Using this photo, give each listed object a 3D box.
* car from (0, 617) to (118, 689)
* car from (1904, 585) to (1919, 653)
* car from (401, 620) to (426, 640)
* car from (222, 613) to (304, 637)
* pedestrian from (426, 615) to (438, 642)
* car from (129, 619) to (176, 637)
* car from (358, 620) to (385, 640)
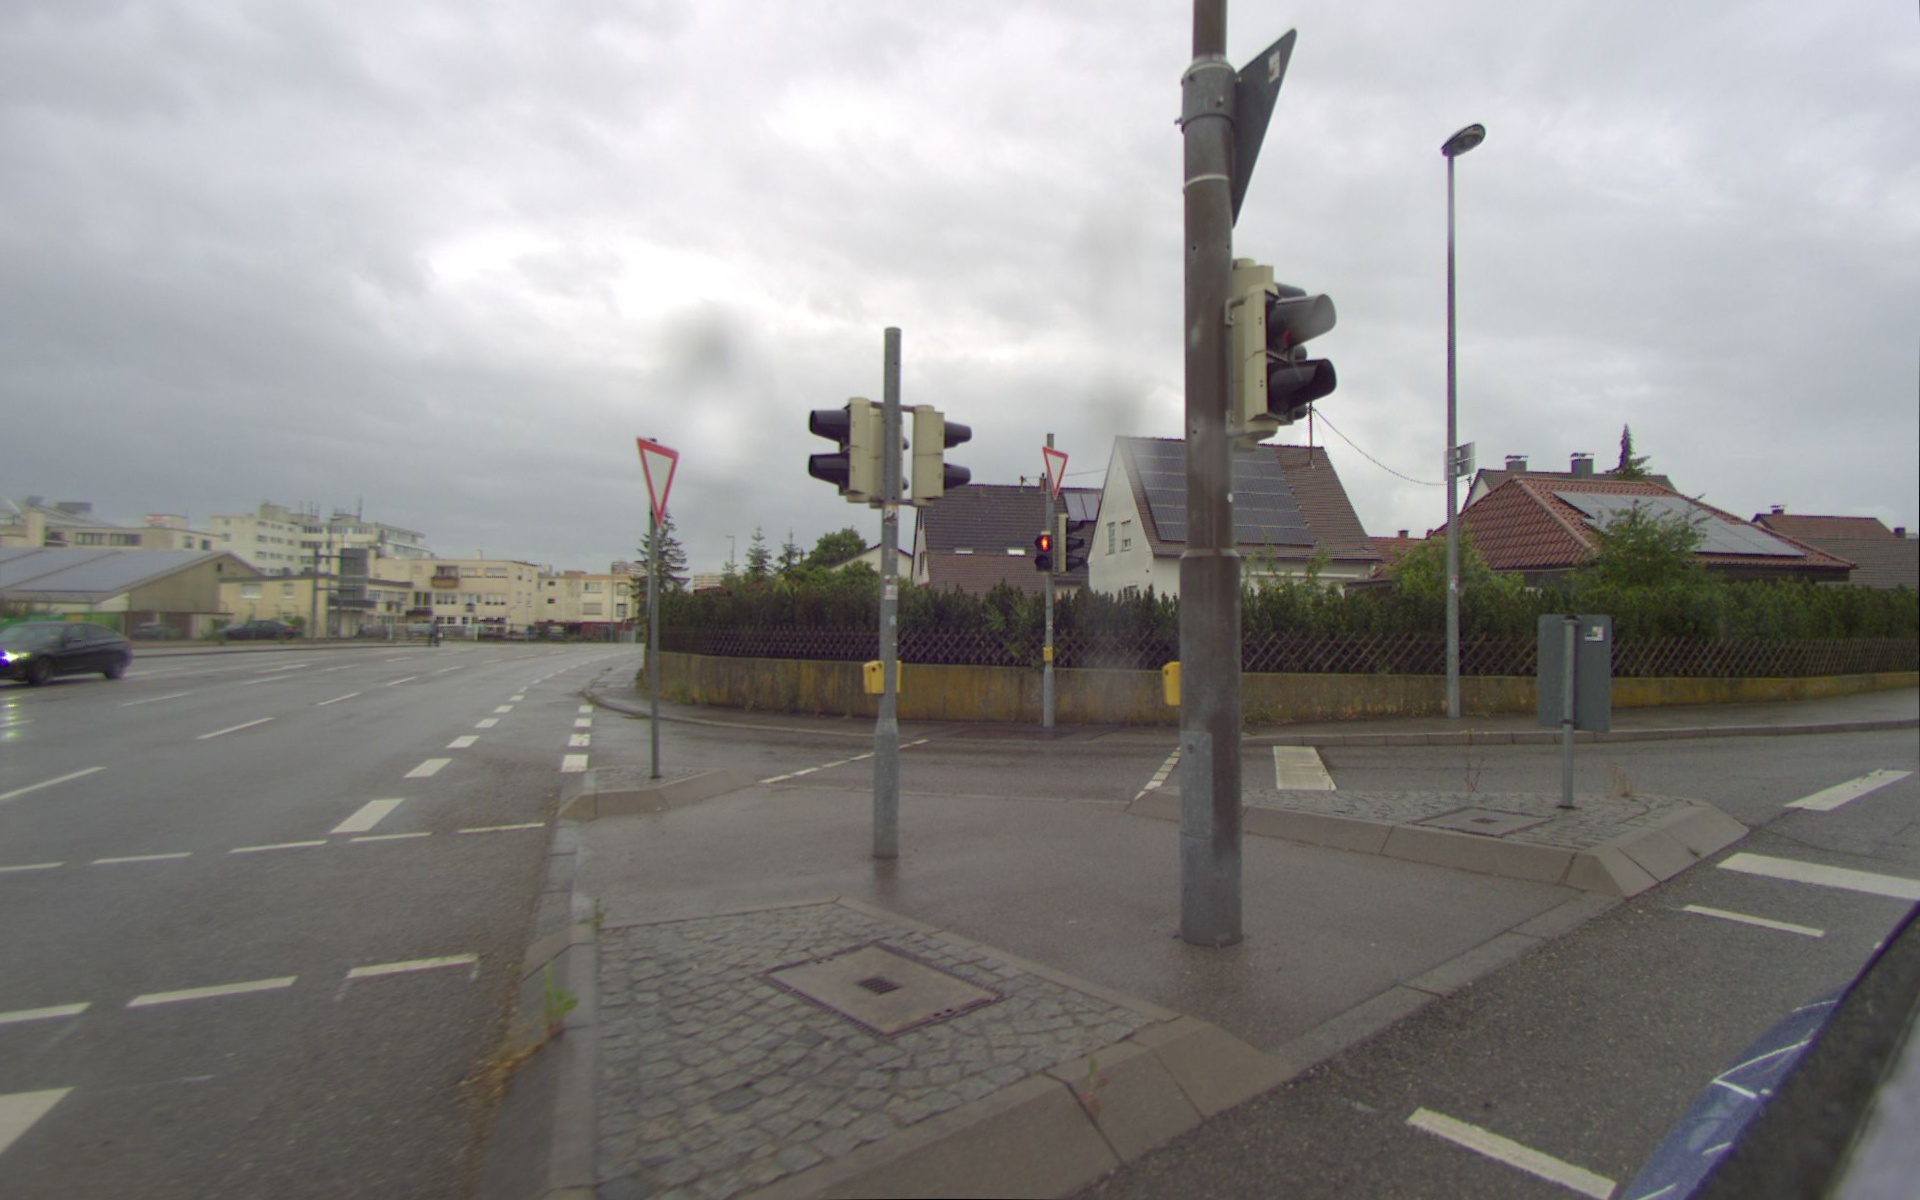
[{"bbox_3d":[-22.204,1.214,24.226,1.814,1.517,4.008,0,0,-18],"label":"car"},{"bbox_3d":[35.631,0.667,35.485,3.917,2.381,1.657,0,-1,-10],"label":"car"},{"bbox_3d":[-50.778,2.738,94.009,1.959,1.750,4.005,0,-1,-27],"label":"car"},{"bbox_3d":[-45.139,1.590,65.589,3.916,1.471,2.004,0,-1,-15],"label":"car"},{"bbox_3d":[-34.062,1.839,65.298,0.684,1.686,0.678,0,-1,-28],"label":"pedestrian"},{"bbox_3d":[-68.699,2.358,86.126,1.700,1.438,3.651,0,-1,-13],"label":"car"},{"bbox_3d":[-54.017,2.696,92.967,1.959,1.750,4.005,0,-1,-27],"label":"car"}]
